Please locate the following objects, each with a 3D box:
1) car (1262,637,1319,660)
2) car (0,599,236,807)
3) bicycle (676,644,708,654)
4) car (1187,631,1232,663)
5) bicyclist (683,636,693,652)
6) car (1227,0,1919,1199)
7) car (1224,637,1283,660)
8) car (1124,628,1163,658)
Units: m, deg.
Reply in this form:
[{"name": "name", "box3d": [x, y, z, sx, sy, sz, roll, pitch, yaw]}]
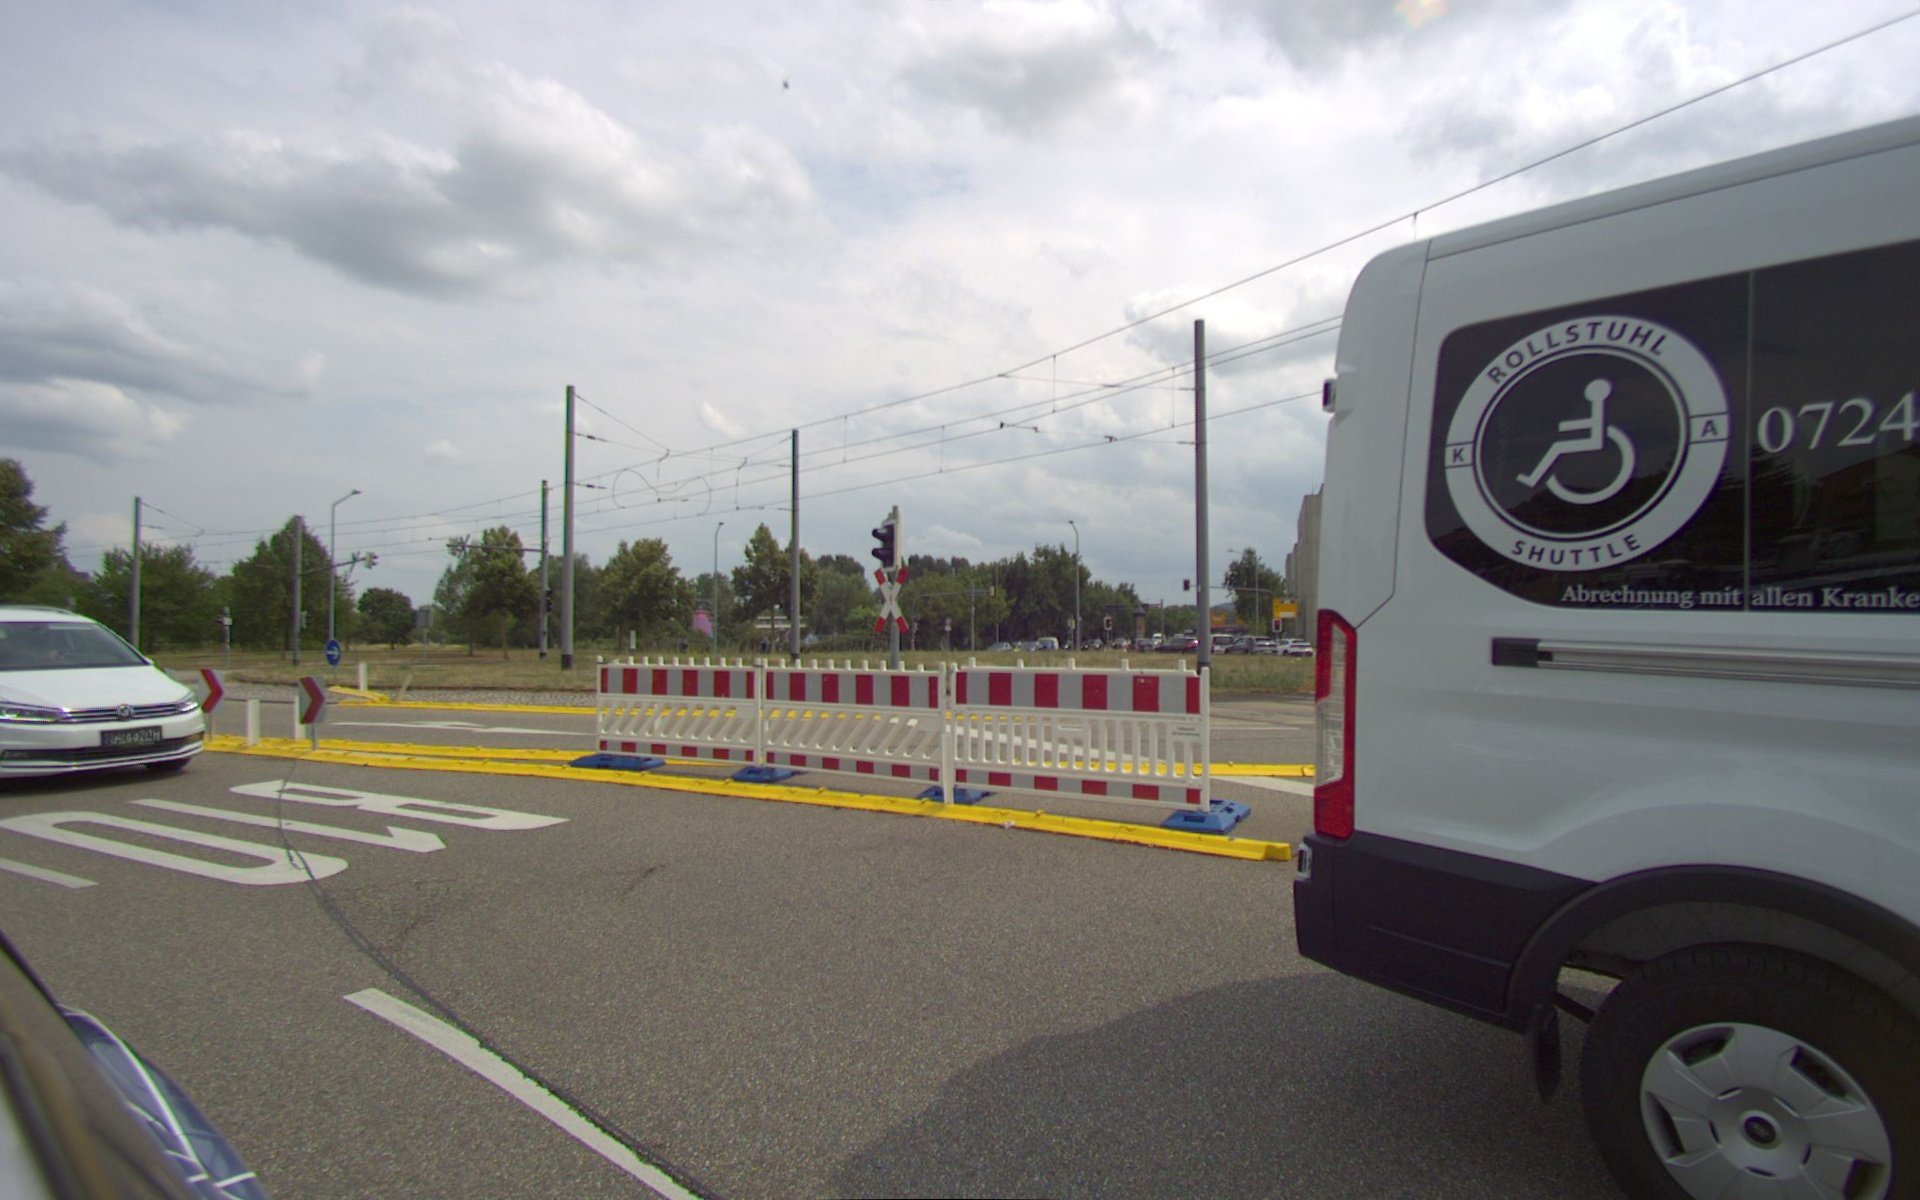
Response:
[{"name": "car", "box3d": [22.346, 3.236, 68.535, 1.803, 1.475, 4.010, 2, -2, -13]}, {"name": "car", "box3d": [-9.395, 0.868, 9.802, 4.326, 1.678, 1.924, -1, -1, 23]}, {"name": "bicycle", "box3d": [-23.454, 4.324, 88.629, 2.621, 0.861, 0.864, 0, -3, 0]}, {"name": "car", "box3d": [17.695, 3.362, 71.953, 1.973, 2.028, 4.361, 6, -3, 0]}, {"name": "bicyclist", "box3d": [-23.844, 3.862, 88.656, 0.665, 1.420, 0.864, 0, -3, 0]}, {"name": "car", "box3d": [3.448, -0.018, 1.428, 5.633, 2.718, 2.102, -2, -3, 44]}, {"name": "car", "box3d": [18.840, 3.115, 65.137, 1.802, 1.475, 4.011, 1, -3, -16]}, {"name": "car", "box3d": [12.958, 3.050, 71.786, 1.972, 2.029, 3.999, 1, -2, 0]}]
